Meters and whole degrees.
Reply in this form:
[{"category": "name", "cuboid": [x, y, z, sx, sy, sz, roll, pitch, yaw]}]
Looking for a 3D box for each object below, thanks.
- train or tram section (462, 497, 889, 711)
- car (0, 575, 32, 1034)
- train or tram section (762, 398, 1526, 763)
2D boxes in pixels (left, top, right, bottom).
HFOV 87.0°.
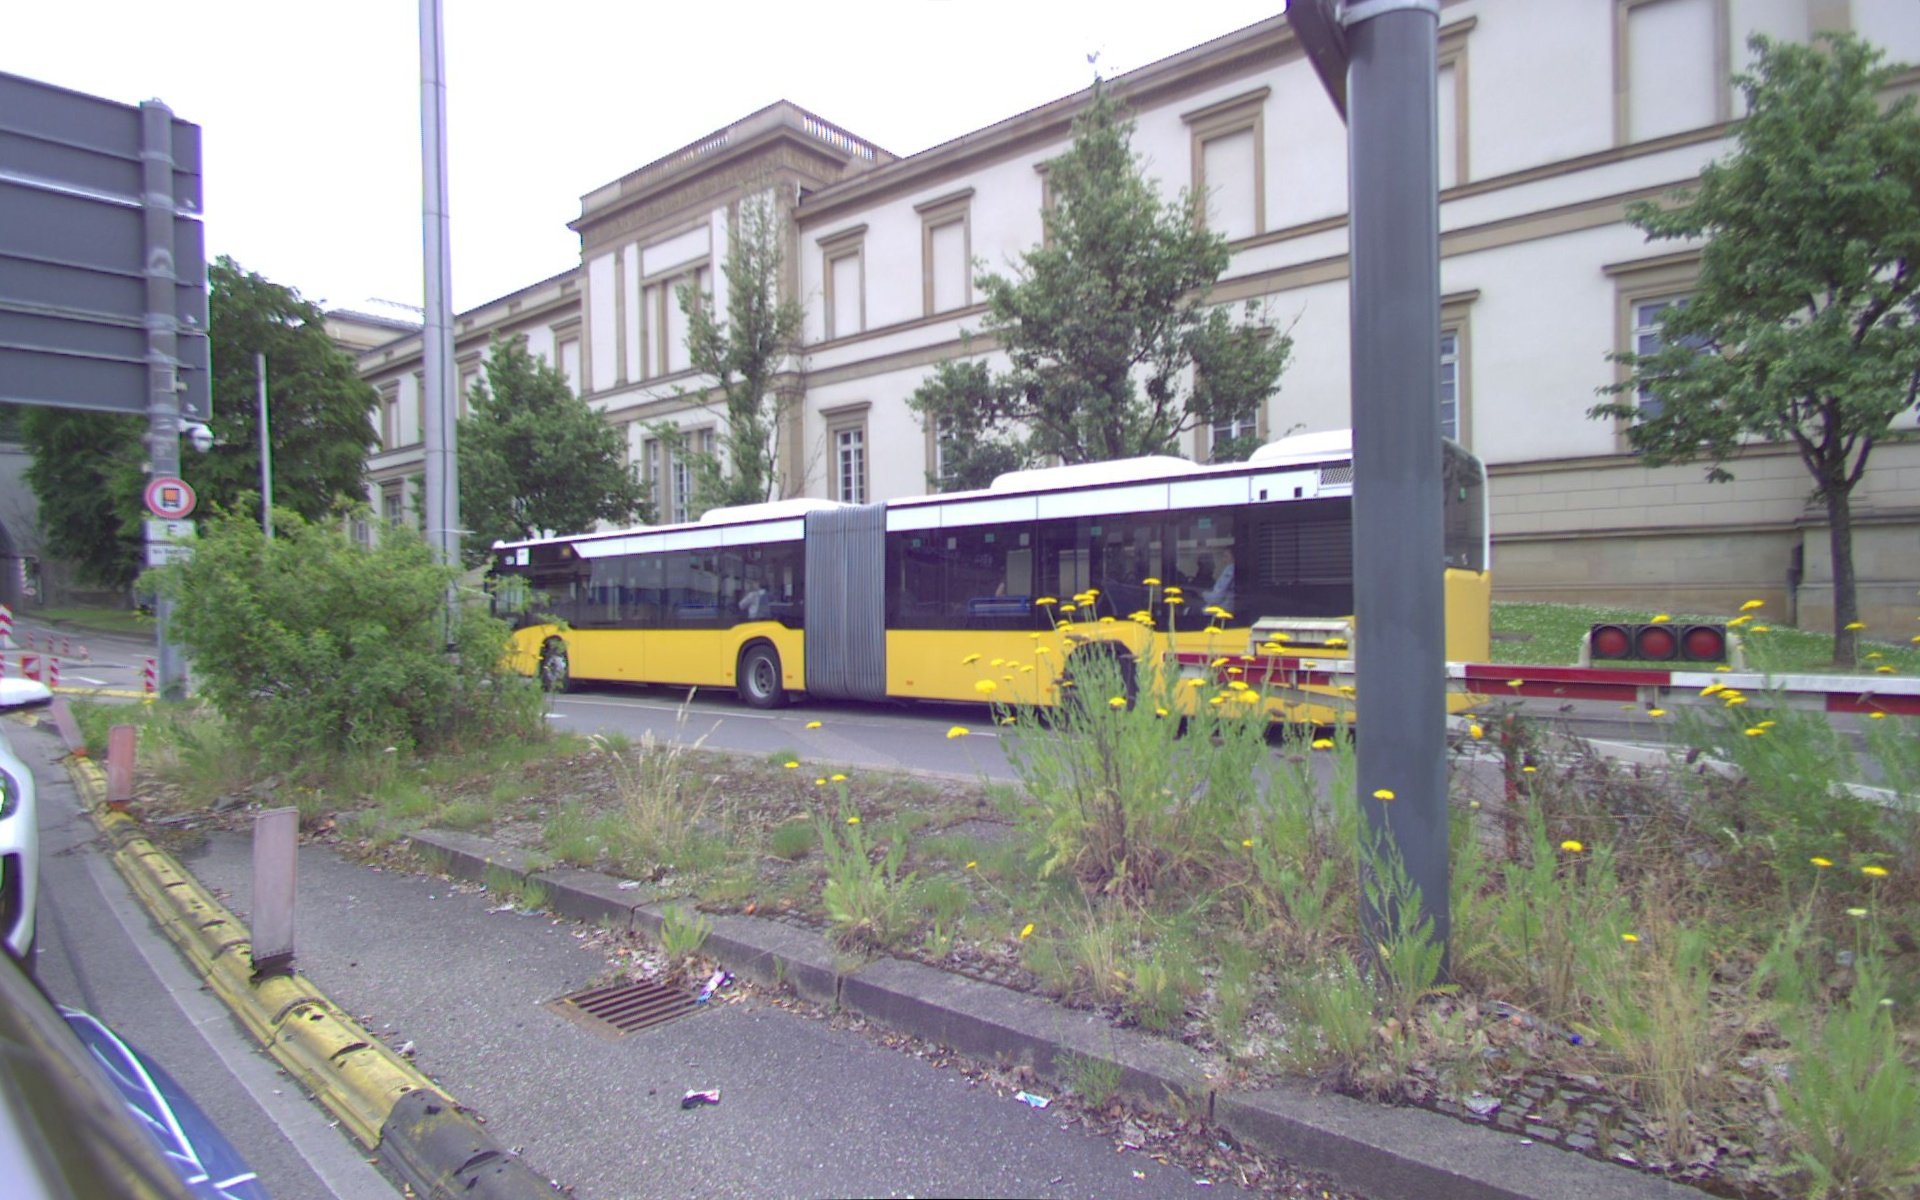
[{"category": "train or tram section", "cuboid": [-5.644, 0.168, 18.652, 9.366, 3.094, 2.667, -2, -2, 39]}, {"category": "car", "cuboid": [-5.240, 0.723, 4.212, 3.911, 1.568, 1.733, -1, 0, 43]}, {"category": "train or tram section", "cuboid": [1.519, -0.055, 12.640, 9.330, 3.094, 2.666, -2, -2, 41]}]
